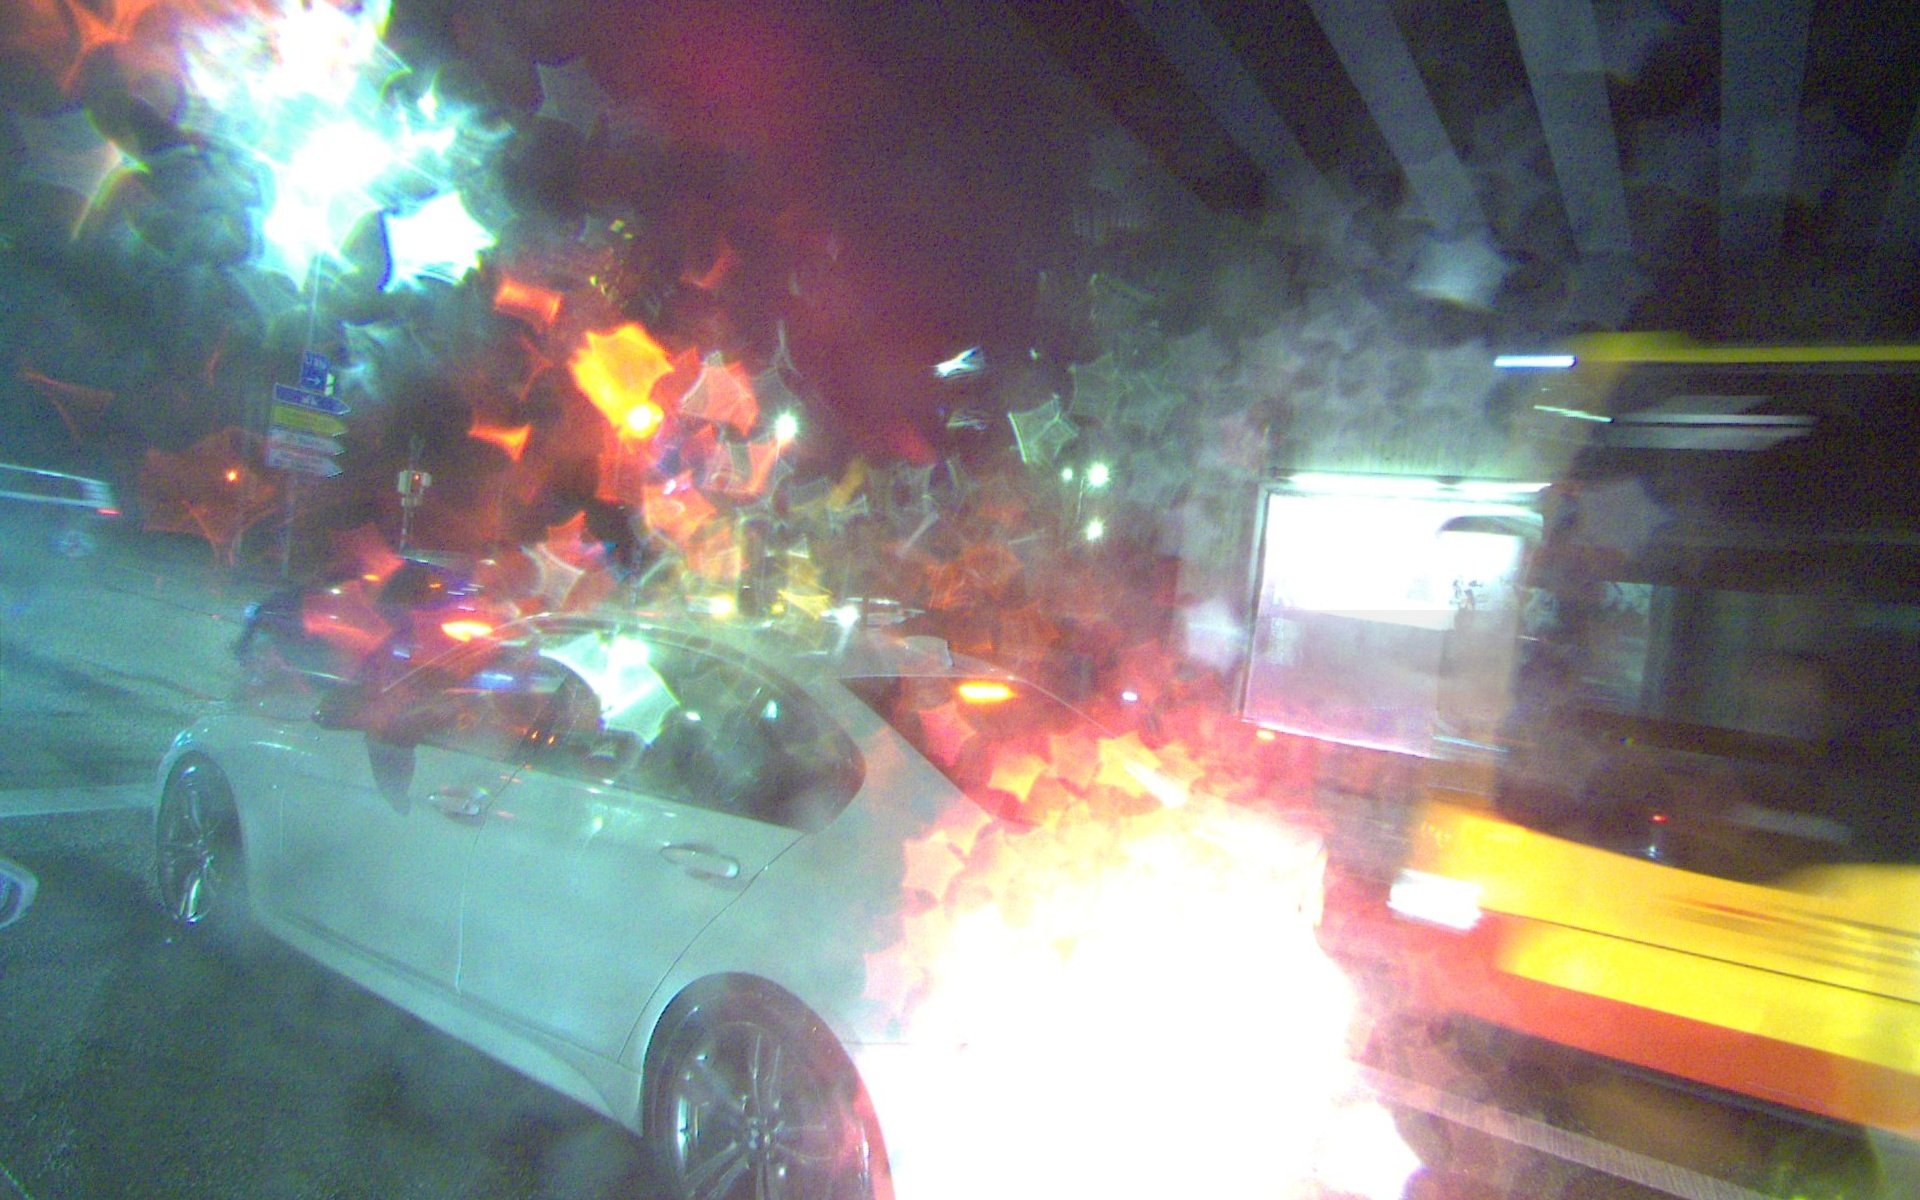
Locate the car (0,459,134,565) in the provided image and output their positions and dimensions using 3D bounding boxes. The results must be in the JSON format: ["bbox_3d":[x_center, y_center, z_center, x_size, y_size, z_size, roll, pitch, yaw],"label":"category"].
[{"bbox_3d":[-21.322,-2.093,21.568,1.965,2.008,5.104,7,-1,28],"label":"car"}]

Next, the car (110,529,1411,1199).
[{"bbox_3d":[-0.938,0.713,3.485,4.277,1.420,1.720,6,-2,32],"label":"car"}]

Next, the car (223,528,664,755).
[{"bbox_3d":[-4.764,0.321,9.213,3.696,1.448,1.754,7,-1,30],"label":"car"}]

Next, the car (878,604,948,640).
[{"bbox_3d":[-2.752,1.329,59.803,1.767,1.699,4.419,7,-1,32],"label":"car"}]

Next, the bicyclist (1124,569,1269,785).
[{"bbox_3d":[2.162,0.687,9.150,0.886,1.783,0.798,6,-1,31],"label":"bicyclist"}]

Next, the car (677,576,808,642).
[{"bbox_3d":[-6.451,0.302,30.106,1.613,1.475,3.587,6,-2,34],"label":"car"}]

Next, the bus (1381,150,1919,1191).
[{"bbox_3d":[6.583,0.685,2.710,9.591,3.160,2.776,7,-1,27],"label":"bus"}]

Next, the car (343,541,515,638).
[{"bbox_3d":[-10.022,-0.183,19.390,1.730,1.406,4.555,8,-2,-14],"label":"car"}]

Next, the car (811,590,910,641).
[{"bbox_3d":[-4.969,0.814,50.880,1.969,2.008,5.095,7,-1,35],"label":"car"}]

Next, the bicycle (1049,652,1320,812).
[{"bbox_3d":[2.018,1.155,9.180,2.171,1.070,0.798,6,-2,32],"label":"bicycle"}]
